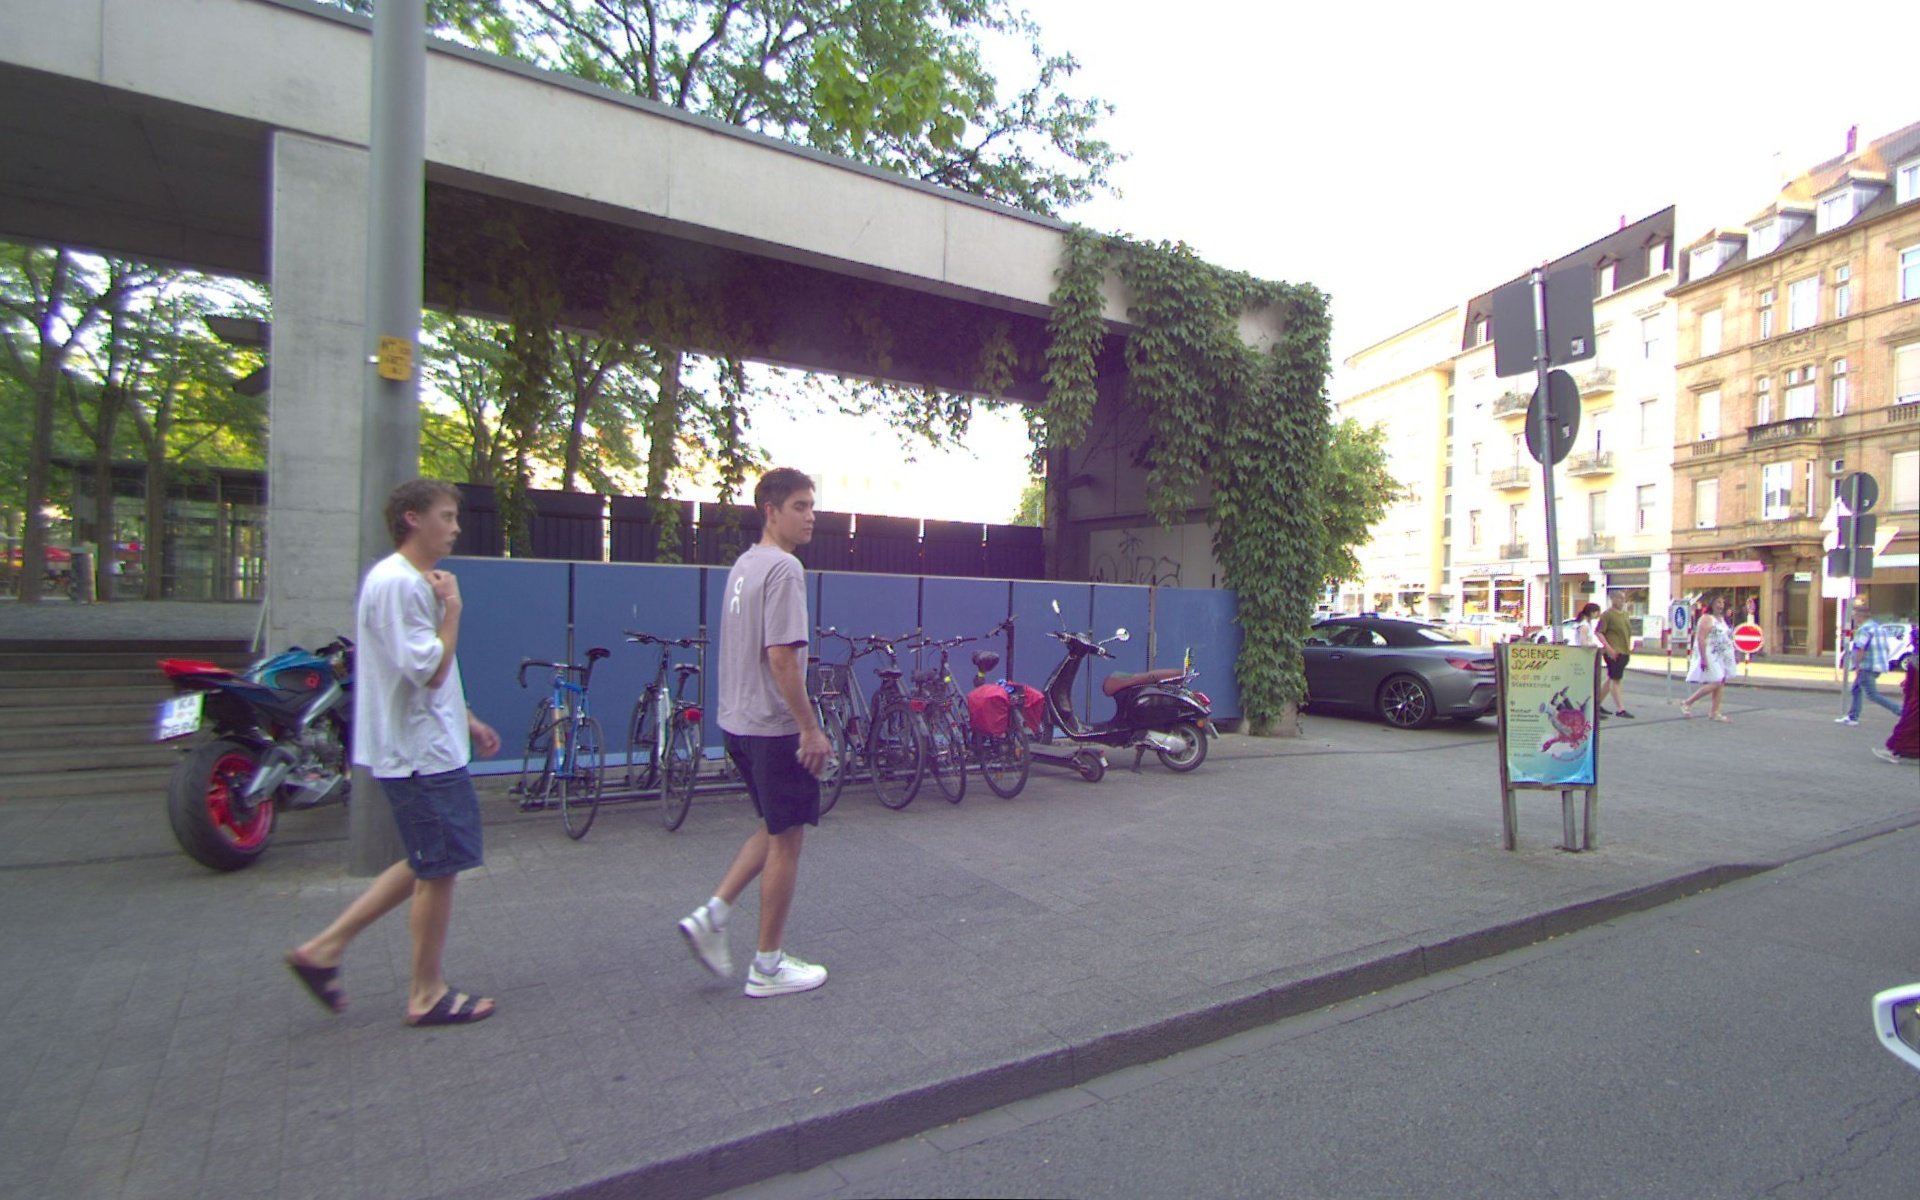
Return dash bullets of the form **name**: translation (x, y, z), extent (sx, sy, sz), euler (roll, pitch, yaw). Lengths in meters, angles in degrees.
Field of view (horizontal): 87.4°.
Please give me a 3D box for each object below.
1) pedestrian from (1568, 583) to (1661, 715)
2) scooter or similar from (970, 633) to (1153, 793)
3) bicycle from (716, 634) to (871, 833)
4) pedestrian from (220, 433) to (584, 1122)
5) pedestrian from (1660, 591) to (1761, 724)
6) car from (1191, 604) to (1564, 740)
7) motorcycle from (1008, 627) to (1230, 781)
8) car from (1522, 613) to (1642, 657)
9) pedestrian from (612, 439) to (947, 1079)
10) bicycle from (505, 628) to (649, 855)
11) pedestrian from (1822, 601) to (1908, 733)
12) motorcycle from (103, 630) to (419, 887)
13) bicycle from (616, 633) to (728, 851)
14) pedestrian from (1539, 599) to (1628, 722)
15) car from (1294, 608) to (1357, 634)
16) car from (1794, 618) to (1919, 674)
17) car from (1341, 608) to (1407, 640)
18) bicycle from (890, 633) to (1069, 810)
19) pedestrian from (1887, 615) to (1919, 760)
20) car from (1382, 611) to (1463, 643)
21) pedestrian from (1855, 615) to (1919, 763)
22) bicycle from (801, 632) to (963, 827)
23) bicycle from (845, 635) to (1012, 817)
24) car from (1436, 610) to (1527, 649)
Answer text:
- **pedestrian**: translation (9.710, 0.709, 14.925), extent (0.835, 1.902, 0.714), euler (2, 1, -2)
- **scooter or similar**: translation (0.791, 0.866, 8.130), extent (1.475, 1.102, 0.409), euler (3, 2, 41)
- **bicycle**: translation (-1.153, 0.824, 6.731), extent (0.407, 1.102, 1.482), euler (1, 1, -35)
- **pedestrian**: translation (-1.794, 0.467, 3.288), extent (0.879, 1.818, 0.977), euler (1, 1, -30)
- **pedestrian**: translation (10.728, 0.795, 14.393), extent (0.865, 1.827, 0.715), euler (2, 1, 12)
- **car**: translation (5.689, 0.870, 14.195), extent (2.088, 1.450, 4.401), euler (1, 1, -38)
- **motorcycle**: translation (1.362, 0.851, 8.713), extent (1.795, 1.142, 0.536), euler (2, 1, 27)
- **car**: translation (25.776, 1.420, 41.834), extent (1.784, 1.538, 4.225), euler (2, 1, -12)
- **pedestrian**: translation (-0.690, 0.472, 3.631), extent (0.879, 1.909, 0.977), euler (1, 1, -30)
- **bicycle**: translation (-2.439, 0.777, 6.262), extent (0.544, 1.102, 1.858), euler (1, 1, -30)
- **pedestrian**: translation (12.685, 0.911, 14.105), extent (0.675, 1.769, 0.715), euler (2, 1, 29)
- **motorcycle**: translation (-3.687, 0.754, 5.503), extent (0.523, 1.083, 1.828), euler (2, 1, -3)
- **bicycle**: translation (-1.821, 0.797, 6.228), extent (0.430, 1.102, 1.488), euler (1, 1, -25)
- **pedestrian**: translation (9.008, 0.843, 14.544), extent (0.700, 1.691, 0.883), euler (2, 1, 4)
- **car**: translation (25.397, 1.436, 69.976), extent (1.964, 1.634, 4.796), euler (2, 0, -9)
- **car**: translation (30.403, 1.494, 33.396), extent (1.674, 1.606, 3.994), euler (1, 1, -7)
- **car**: translation (26.211, 1.499, 63.797), extent (1.839, 1.786, 4.401), euler (2, 1, -8)
- **bicycle**: translation (0.103, 0.842, 7.497), extent (0.542, 1.102, 1.482), euler (1, 1, -35)
- **pedestrian**: translation (11.147, 0.993, 11.273), extent (0.783, 1.603, 0.730), euler (2, 1, 16)
- **car**: translation (26.718, 1.551, 58.244), extent (1.985, 1.564, 4.862), euler (2, 1, -7)
- **pedestrian**: translation (10.428, 0.964, 11.012), extent (0.666, 1.563, 0.593), euler (2, 1, 16)
- **bicycle**: translation (-0.583, 0.831, 6.982), extent (0.407, 1.126, 1.482), euler (1, 1, -35)
- **bicycle**: translation (-0.269, 0.841, 7.223), extent (0.438, 1.084, 1.482), euler (1, 1, -35)
- **car**: translation (27.143, 1.508, 52.476), extent (1.853, 1.768, 4.652), euler (2, 1, -8)
